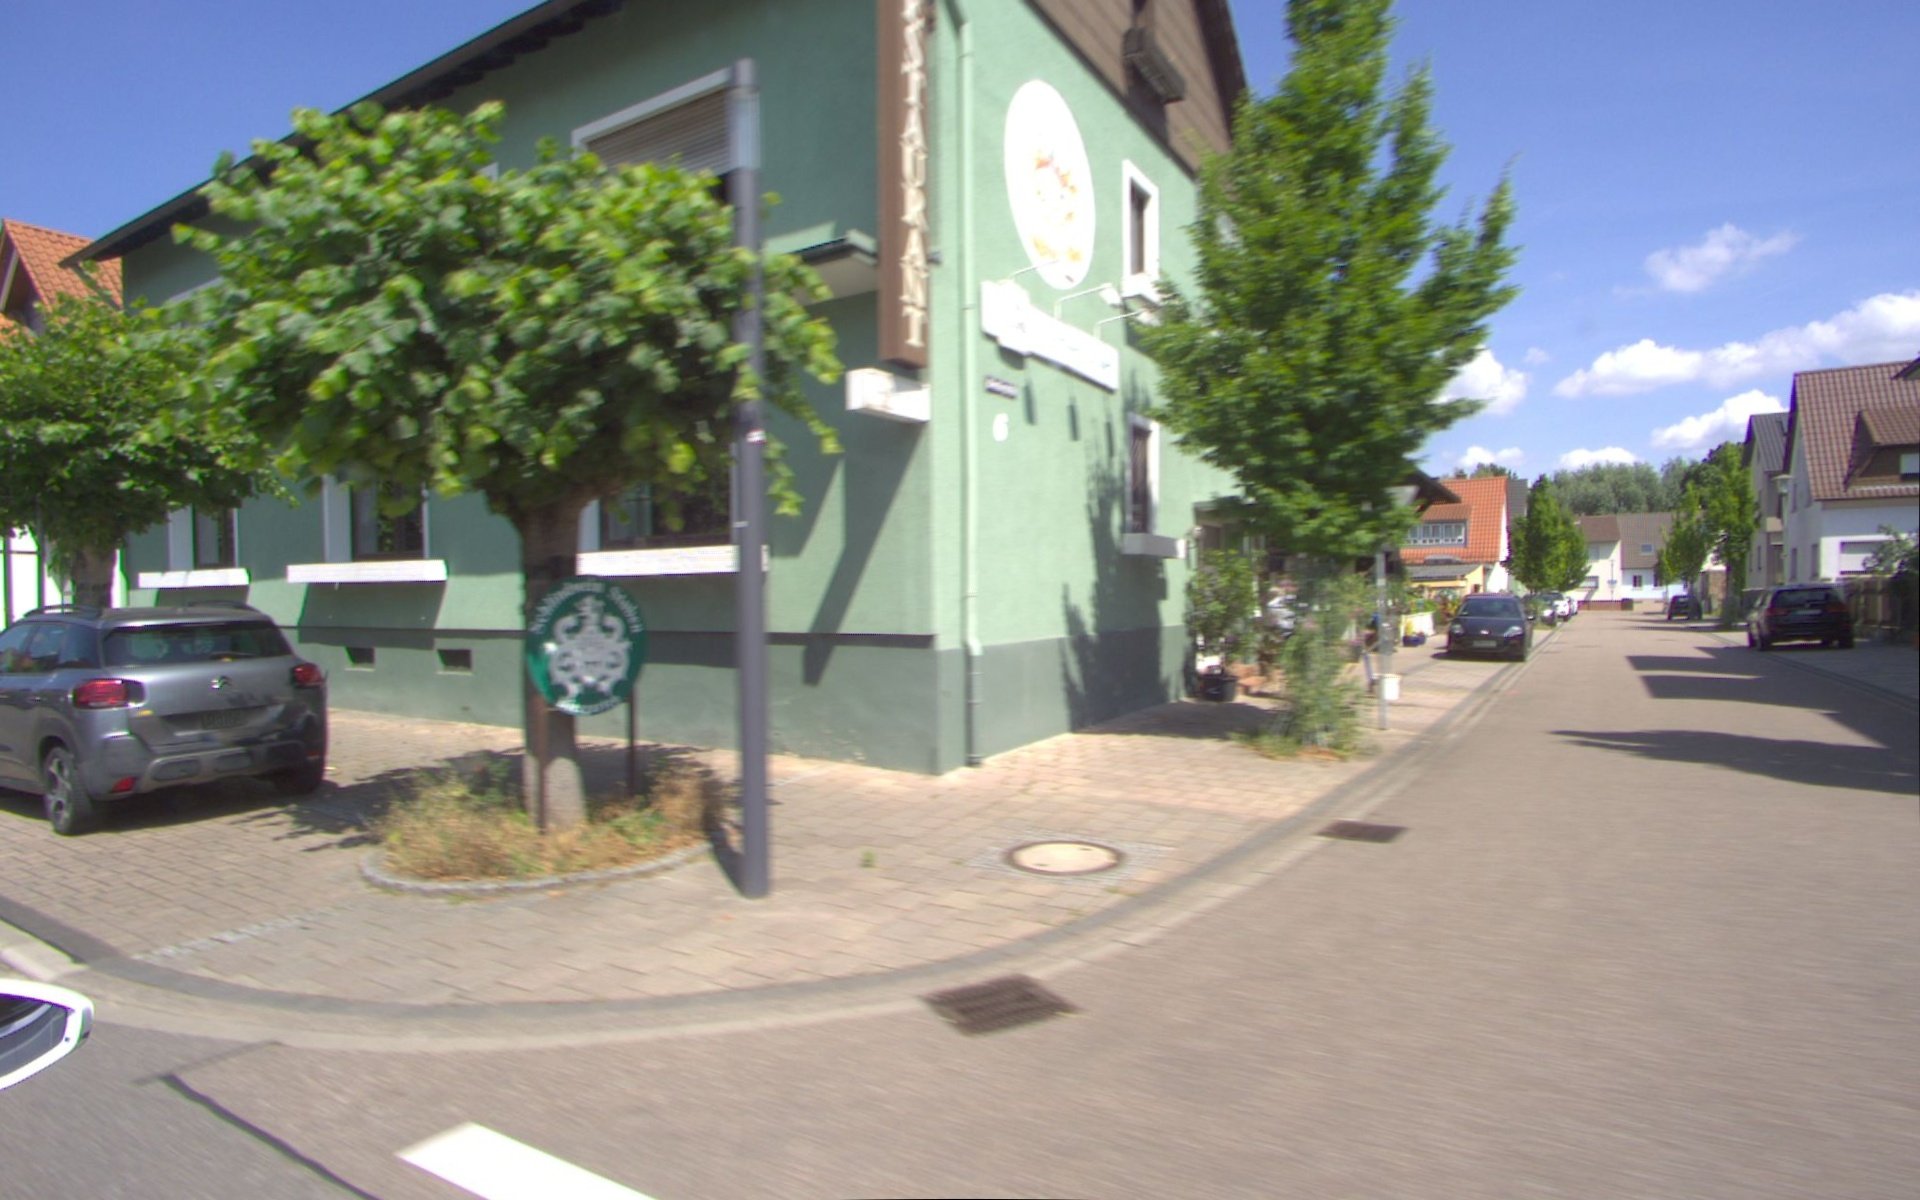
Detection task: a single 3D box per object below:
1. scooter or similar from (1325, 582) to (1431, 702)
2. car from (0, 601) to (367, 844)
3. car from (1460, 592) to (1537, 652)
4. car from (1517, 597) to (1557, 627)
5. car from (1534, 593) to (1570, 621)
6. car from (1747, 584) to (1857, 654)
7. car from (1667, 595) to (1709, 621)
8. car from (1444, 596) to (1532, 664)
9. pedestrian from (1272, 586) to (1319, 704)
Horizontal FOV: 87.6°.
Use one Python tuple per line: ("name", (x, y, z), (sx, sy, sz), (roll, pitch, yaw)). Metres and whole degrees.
("scooter or similar", (6.240, 0.586, 14.949), (1.175, 1.670, 1.090), (4, 3, 36))
("car", (-7.054, 0.837, 8.512), (3.941, 1.629, 1.834), (0, 0, 31))
("car", (15.565, 0.617, 28.842), (1.715, 1.619, 3.721), (1, 0, 32))
("car", (26.974, 0.555, 46.771), (1.523, 1.338, 3.134), (1, 0, 32))
("car", (33.998, 0.411, 57.455), (1.715, 1.555, 3.721), (1, 0, 32))
("car", (22.800, 0.474, 27.259), (1.716, 1.743, 3.720), (-3, 0, 32))
("car", (43.903, 0.471, 60.414), (1.716, 1.431, 3.720), (-3, 0, 32))
("car", (12.665, 0.684, 23.917), (1.601, 1.476, 3.721), (1, 0, 32))
("pedestrian", (4.661, 0.617, 13.900), (0.537, 1.590, 0.544), (-1, -1, 29))
